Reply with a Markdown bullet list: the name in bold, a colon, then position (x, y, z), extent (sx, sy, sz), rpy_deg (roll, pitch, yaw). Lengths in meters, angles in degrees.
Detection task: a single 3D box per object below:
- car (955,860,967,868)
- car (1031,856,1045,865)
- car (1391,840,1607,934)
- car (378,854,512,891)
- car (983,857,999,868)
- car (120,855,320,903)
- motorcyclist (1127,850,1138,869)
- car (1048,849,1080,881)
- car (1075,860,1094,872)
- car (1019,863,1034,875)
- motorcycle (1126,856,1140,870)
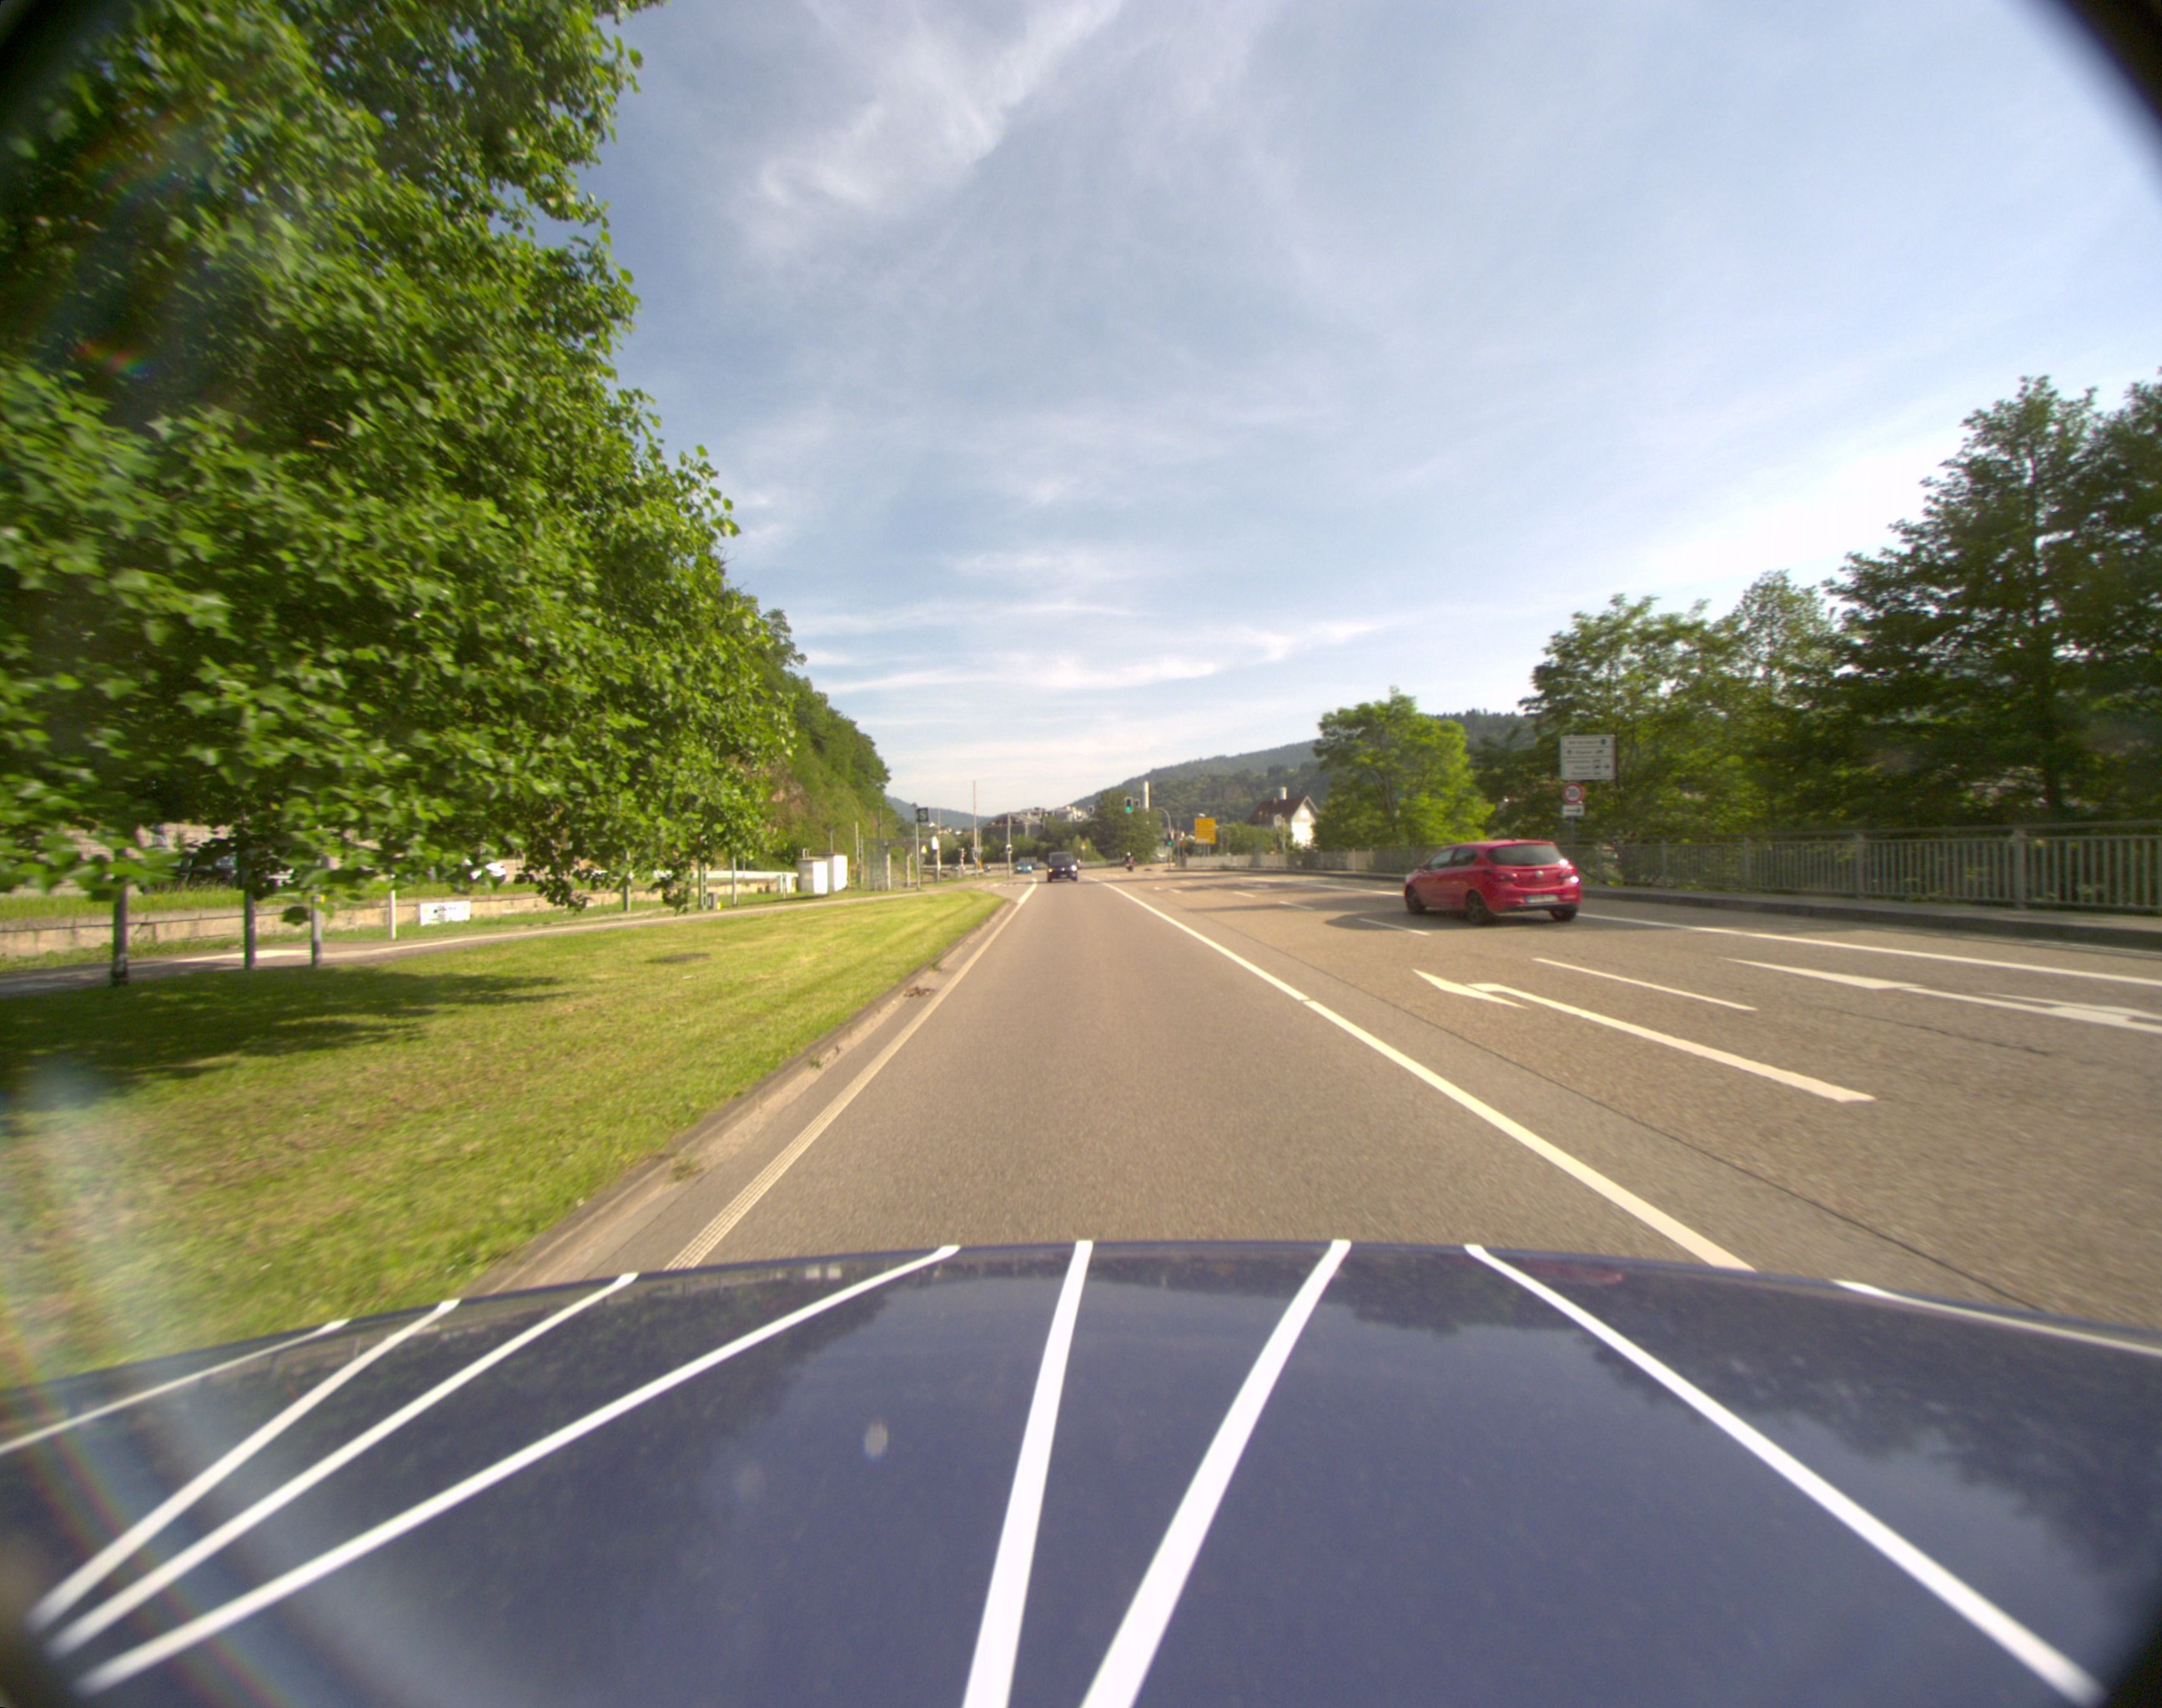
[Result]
- **car**: position (-23.468, 1.932, 148.240), extent (1.879, 1.452, 3.723), rpy_deg (0, 0, -17)
- **car**: position (-6.909, 1.014, 122.322), extent (1.777, 1.369, 4.640), rpy_deg (-2, 0, -10)
- **car**: position (7.608, 0.524, 14.355), extent (1.680, 1.451, 4.201), rpy_deg (-2, 0, -1)
- **car**: position (-26.488, 0.770, 31.724), extent (4.105, 1.390, 1.810), rpy_deg (-2, 0, 3)
- **car**: position (-14.998, 1.366, 126.889), extent (2.001, 1.783, 3.995), rpy_deg (-2, 0, -16)
- **car**: position (-26.836, 0.758, 23.771), extent (4.275, 1.335, 1.832), rpy_deg (-2, 0, 3)
- **motorcyclist**: position (4.868, 0.540, 71.625), extent (0.847, 1.774, 1.171), rpy_deg (-3, 0, -2)
- **car**: position (-1.104, 0.716, 50.284), extent (1.909, 1.868, 4.347), rpy_deg (-4, 0, 0)
- **car**: position (0.447, 1.495, 98.409), extent (1.790, 1.470, 4.751), rpy_deg (-2, 0, -7)
- **car**: position (-6.766, 1.840, 94.169), extent (1.768, 1.452, 3.574), rpy_deg (0, 0, -5)
- **motorcycle**: position (4.884, 0.835, 71.741), extent (0.975, 1.214, 2.571), rpy_deg (-3, 0, -2)
